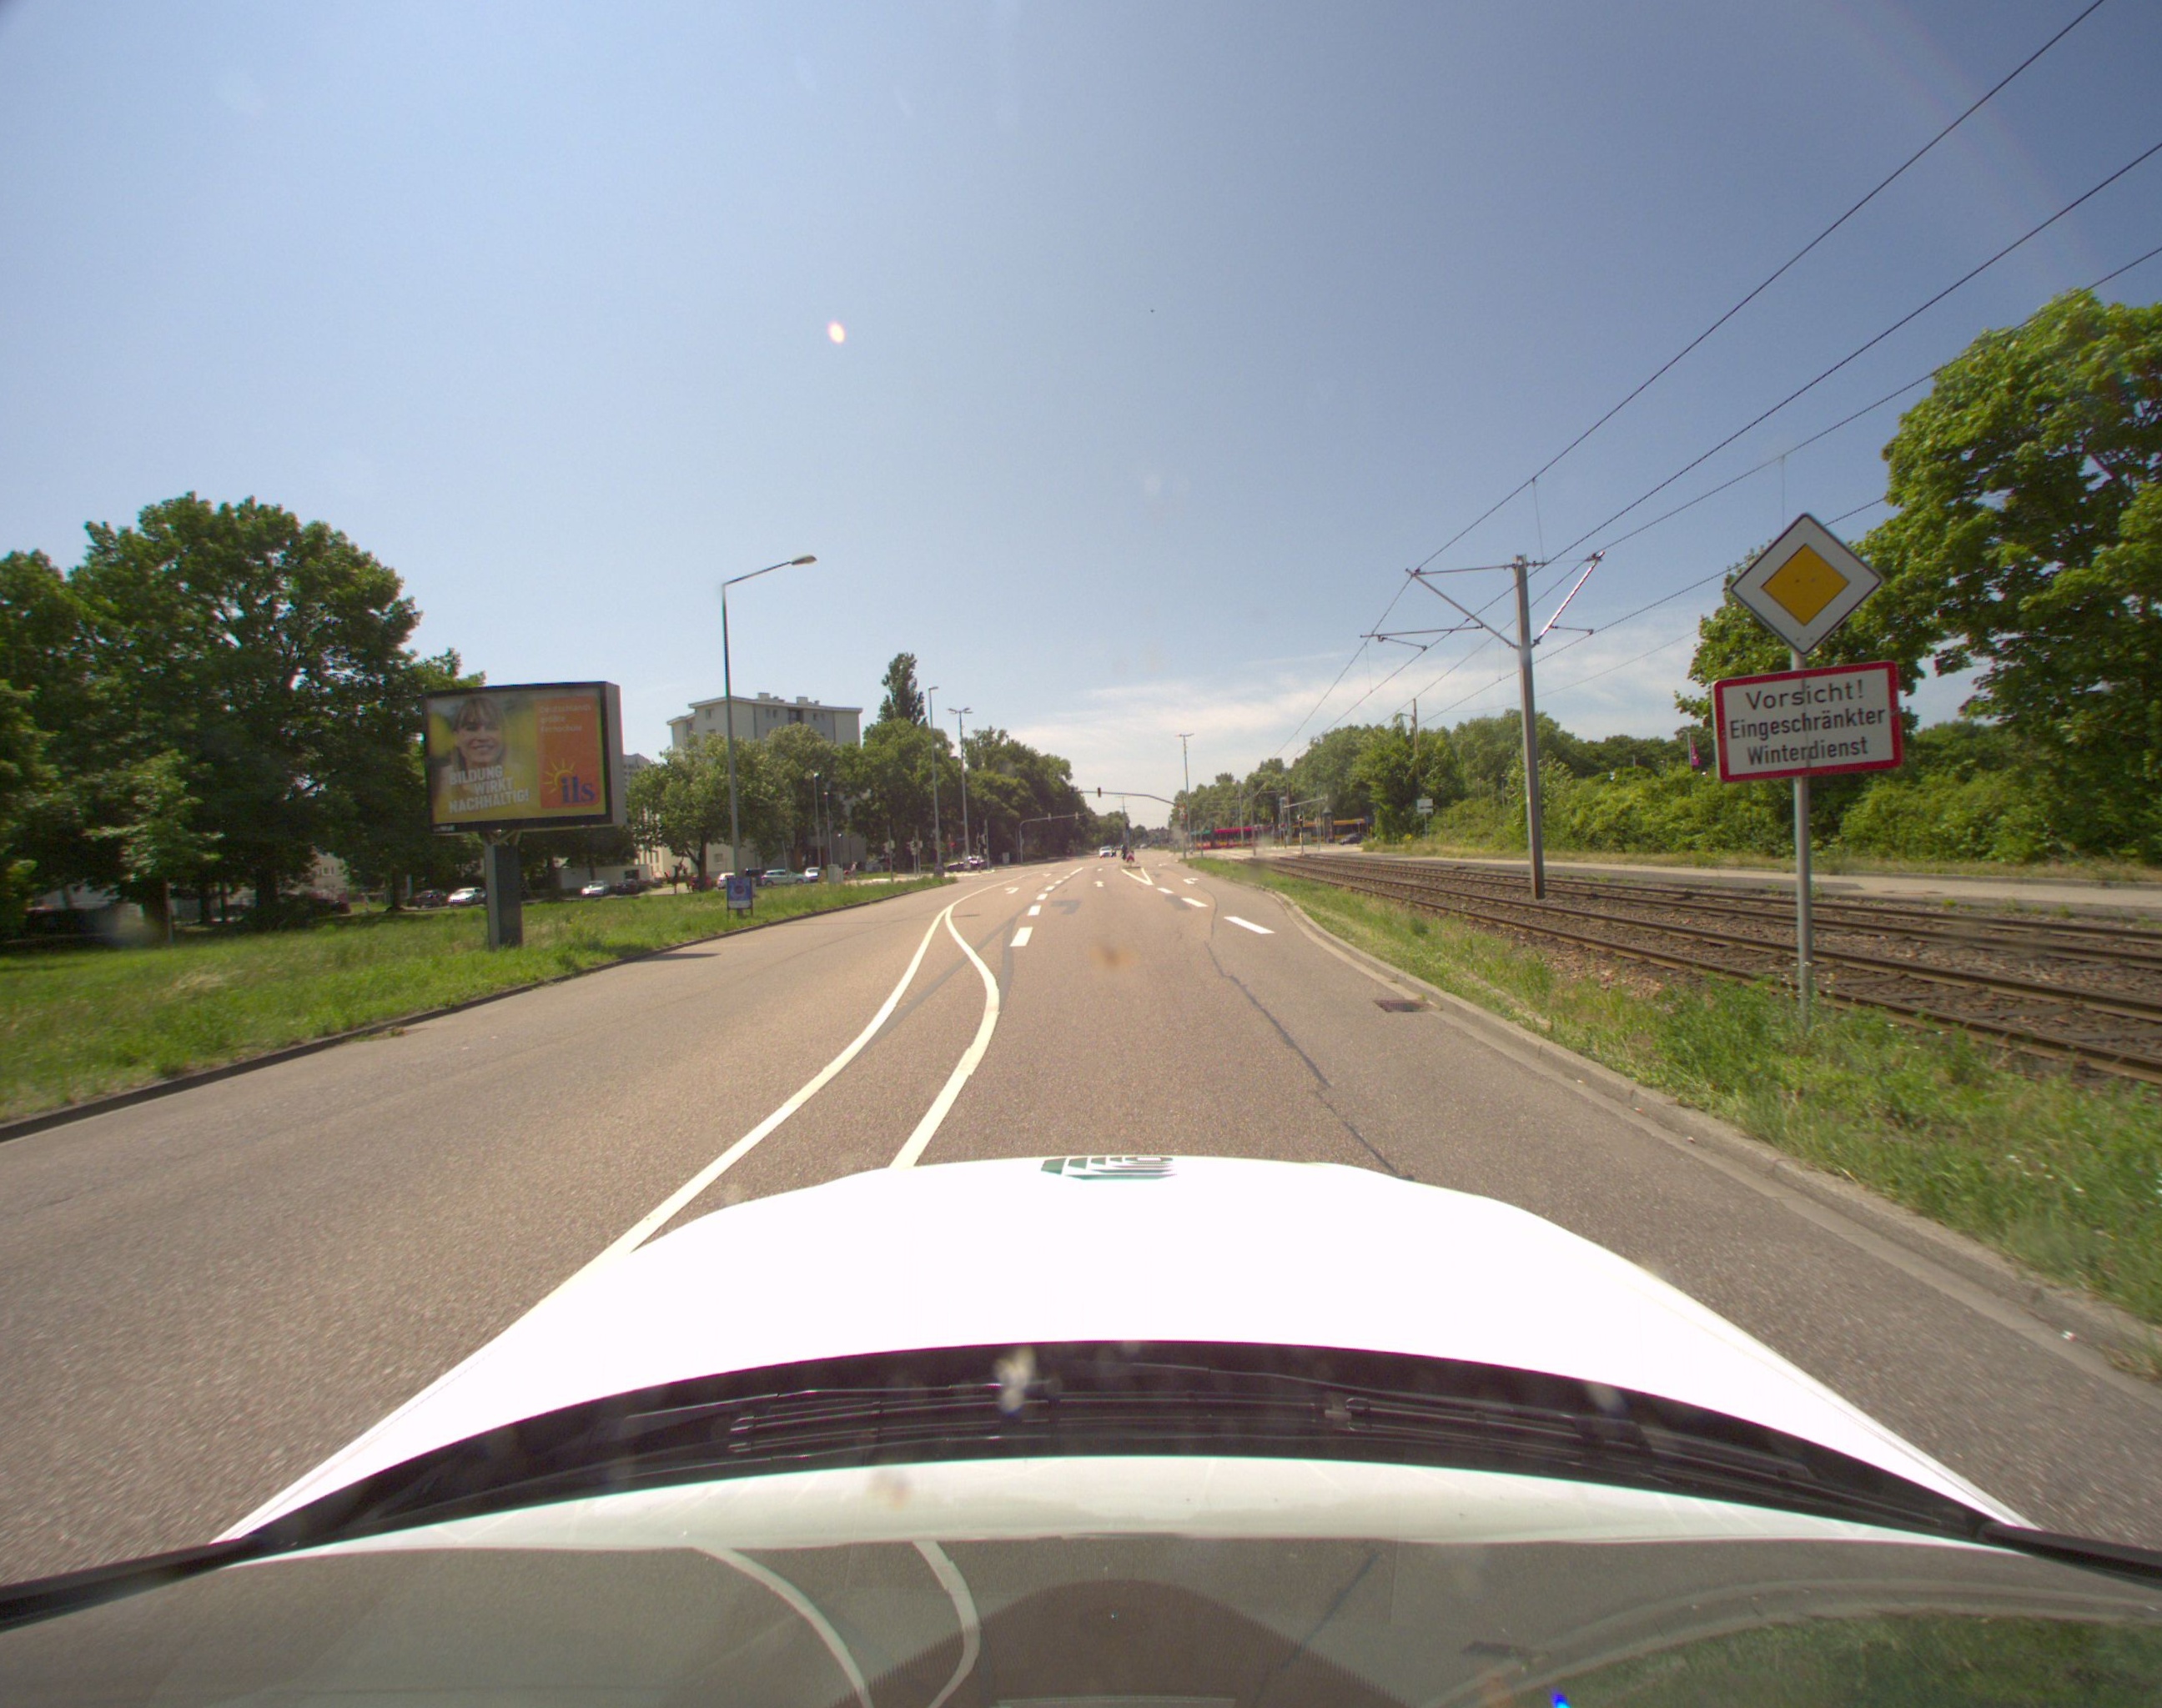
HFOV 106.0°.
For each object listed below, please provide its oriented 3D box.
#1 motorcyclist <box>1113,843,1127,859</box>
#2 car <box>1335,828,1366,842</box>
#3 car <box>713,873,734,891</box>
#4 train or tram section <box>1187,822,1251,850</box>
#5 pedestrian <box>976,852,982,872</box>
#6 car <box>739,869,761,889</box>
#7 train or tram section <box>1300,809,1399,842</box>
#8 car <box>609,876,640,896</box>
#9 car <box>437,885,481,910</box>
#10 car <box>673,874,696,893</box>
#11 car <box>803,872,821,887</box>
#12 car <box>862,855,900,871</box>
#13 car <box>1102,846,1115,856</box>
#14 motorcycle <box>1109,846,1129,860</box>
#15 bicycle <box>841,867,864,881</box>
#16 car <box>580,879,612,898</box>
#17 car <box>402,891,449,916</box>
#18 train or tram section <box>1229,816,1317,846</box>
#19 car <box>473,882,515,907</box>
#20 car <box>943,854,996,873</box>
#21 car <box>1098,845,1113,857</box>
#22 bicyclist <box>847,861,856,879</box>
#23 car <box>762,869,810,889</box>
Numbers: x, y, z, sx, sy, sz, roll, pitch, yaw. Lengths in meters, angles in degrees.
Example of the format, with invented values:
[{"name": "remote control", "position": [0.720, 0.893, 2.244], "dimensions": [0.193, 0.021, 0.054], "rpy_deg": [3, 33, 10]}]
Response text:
[{"name": "motorcyclist", "position": [3.903, -0.301, 81.776], "dimensions": [0.782, 1.643, 1.219], "rpy_deg": [-2, 0, 34]}, {"name": "car", "position": [33.807, -2.362, 102.277], "dimensions": [3.518, 1.463, 1.625], "rpy_deg": [-5, 0, -28]}, {"name": "car", "position": [-34.856, 2.660, 79.448], "dimensions": [1.712, 1.592, 3.969], "rpy_deg": [-2, 0, -23]}, {"name": "train or tram section", "position": [23.119, -2.951, 137.372], "dimensions": [2.932, 3.812, 12.946], "rpy_deg": [-1, -3, -30]}, {"name": "pedestrian", "position": [-8.660, 0.695, 69.225], "dimensions": [0.381, 1.687, 0.486], "rpy_deg": [-3, 0, 0]}, {"name": "car", "position": [-32.615, 2.455, 80.314], "dimensions": [1.709, 1.800, 3.975], "rpy_deg": [-2, 0, -19]}, {"name": "train or tram section", "position": [40.690, -4.246, 123.627], "dimensions": [13.876, 3.919, 2.939], "rpy_deg": [-3, -3, 21]}, {"name": "car", "position": [-43.264, 3.008, 77.277], "dimensions": [1.852, 1.711, 3.975], "rpy_deg": [-2, 0, -19]}, {"name": "car", "position": [-54.927, 3.801, 71.951], "dimensions": [1.852, 1.947, 3.975], "rpy_deg": [-2, 0, -19]}, {"name": "car", "position": [-38.215, 2.794, 78.468], "dimensions": [1.856, 1.668, 3.965], "rpy_deg": [-4, 0, -26]}, {"name": "car", "position": [-27.154, 2.557, 82.362], "dimensions": [1.628, 1.380, 3.976], "rpy_deg": [-2, 0, -18]}, {"name": "car", "position": [-26.422, 1.210, 107.736], "dimensions": [1.769, 1.768, 4.577], "rpy_deg": [-3, 0, 44]}, {"name": "car", "position": [4.116, -0.505, 120.952], "dimensions": [1.703, 1.365, 3.870], "rpy_deg": [-3, 0, 4]}, {"name": "motorcycle", "position": [3.812, -0.123, 81.614], "dimensions": [0.839, 1.255, 2.465], "rpy_deg": [-2, 0, 35]}, {"name": "bicycle", "position": [-20.017, 1.703, 71.238], "dimensions": [1.870, 1.093, 0.642], "rpy_deg": [-4, 0, -19]}, {"name": "car", "position": [-45.351, 3.236, 76.148], "dimensions": [1.693, 1.562, 3.814], "rpy_deg": [-3, 0, -18]}, {"name": "car", "position": [-57.974, 4.370, 72.109], "dimensions": [1.852, 1.947, 3.975], "rpy_deg": [-2, 0, -19]}, {"name": "train or tram section", "position": [30.219, -3.573, 128.976], "dimensions": [13.280, 3.812, 2.942], "rpy_deg": [-4, -3, 35]}, {"name": "car", "position": [-52.324, 3.562, 72.677], "dimensions": [1.852, 1.947, 3.975], "rpy_deg": [-2, 0, -19]}, {"name": "car", "position": [-10.908, 0.922, 79.781], "dimensions": [4.581, 1.498, 1.920], "rpy_deg": [-3, 0, 14]}, {"name": "car", "position": [3.410, -0.407, 113.579], "dimensions": [1.776, 1.628, 3.870], "rpy_deg": [-3, 0, 4]}, {"name": "bicyclist", "position": [-20.075, 1.410, 71.218], "dimensions": [0.666, 1.537, 0.627], "rpy_deg": [-3, 0, -19]}, {"name": "car", "position": [-25.989, 2.183, 71.778], "dimensions": [3.900, 1.468, 1.763], "rpy_deg": [-3, 0, -21]}]
